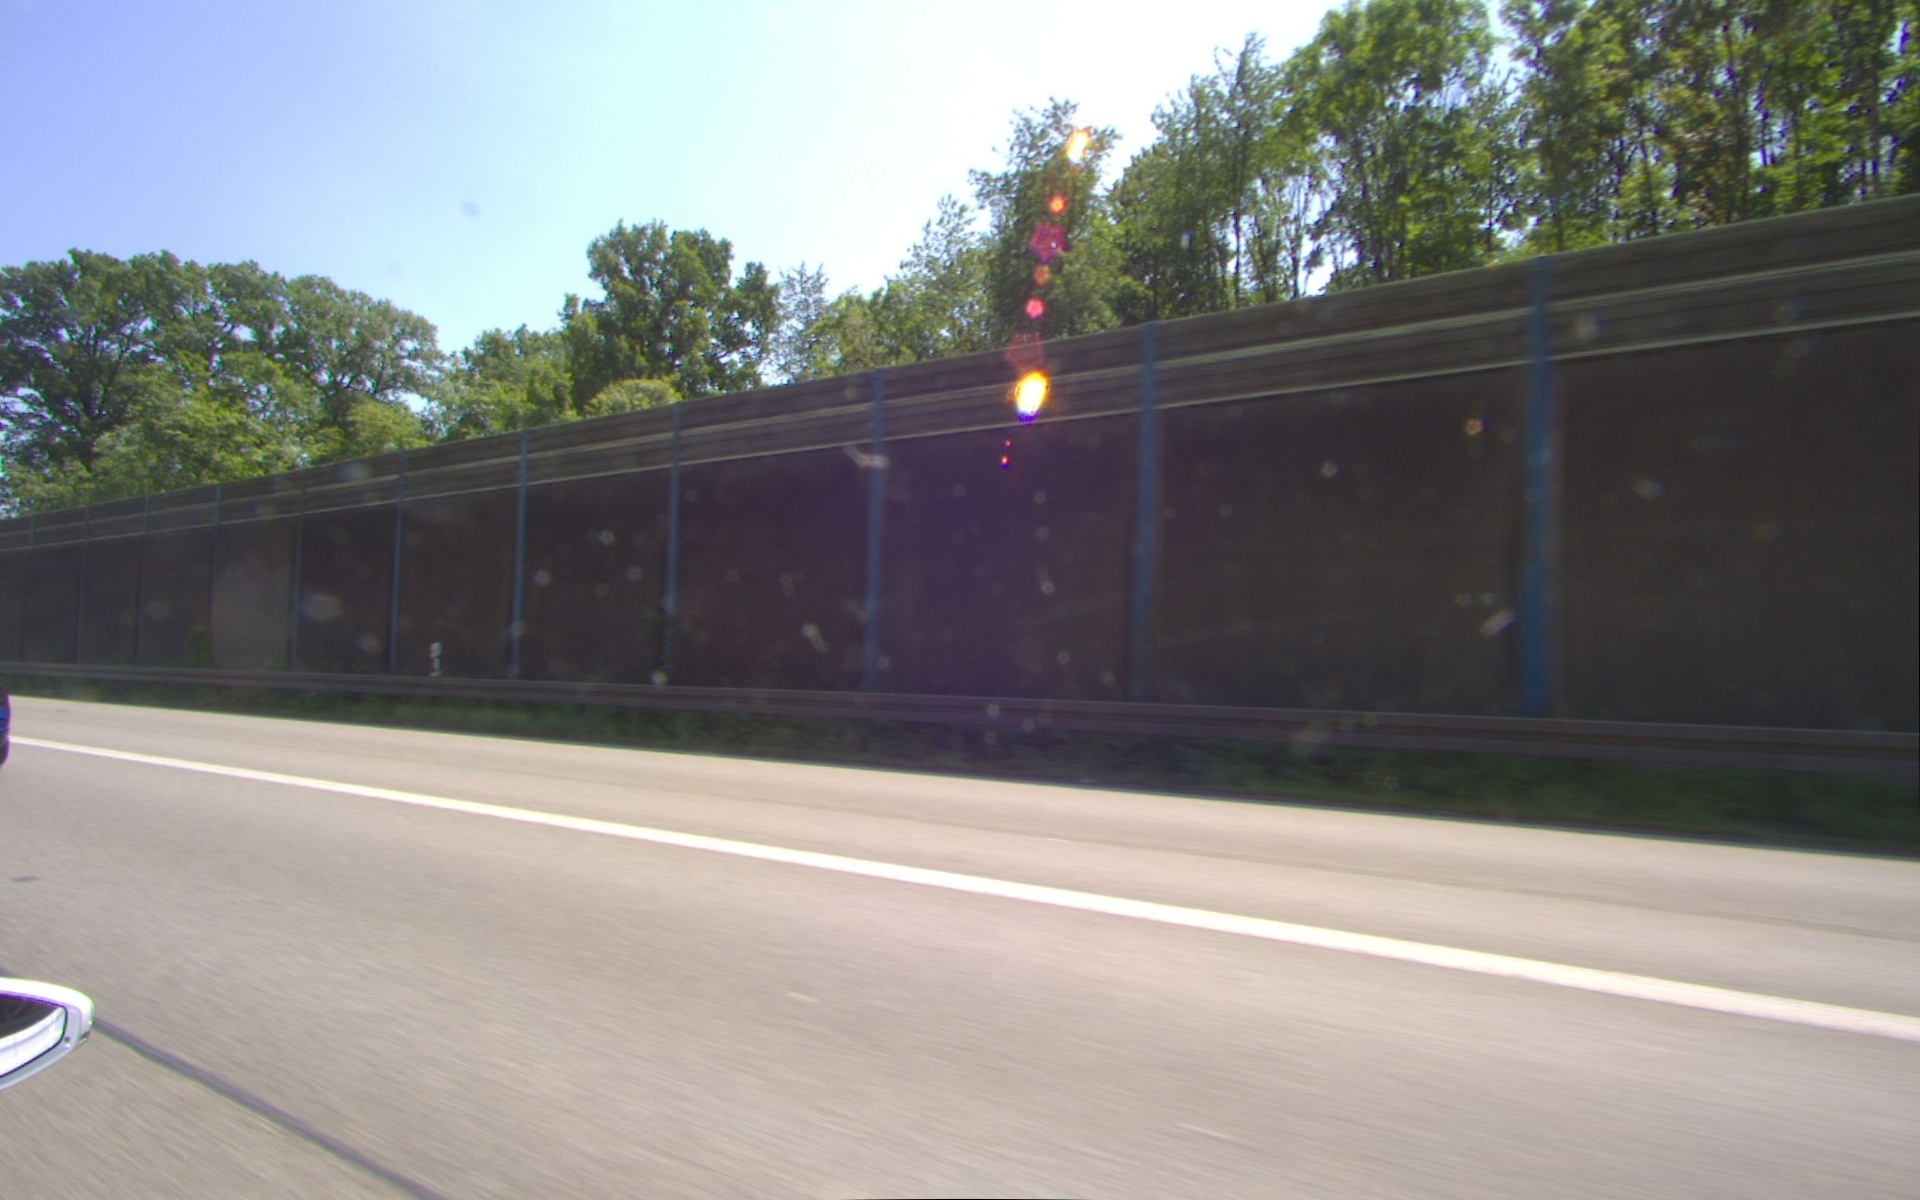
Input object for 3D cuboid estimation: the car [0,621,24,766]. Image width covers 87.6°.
[{"bbox_3d":[-12.214,1.035,11.030,4.417,1.501,1.648,-2,-2,31],"label":"car"}]
